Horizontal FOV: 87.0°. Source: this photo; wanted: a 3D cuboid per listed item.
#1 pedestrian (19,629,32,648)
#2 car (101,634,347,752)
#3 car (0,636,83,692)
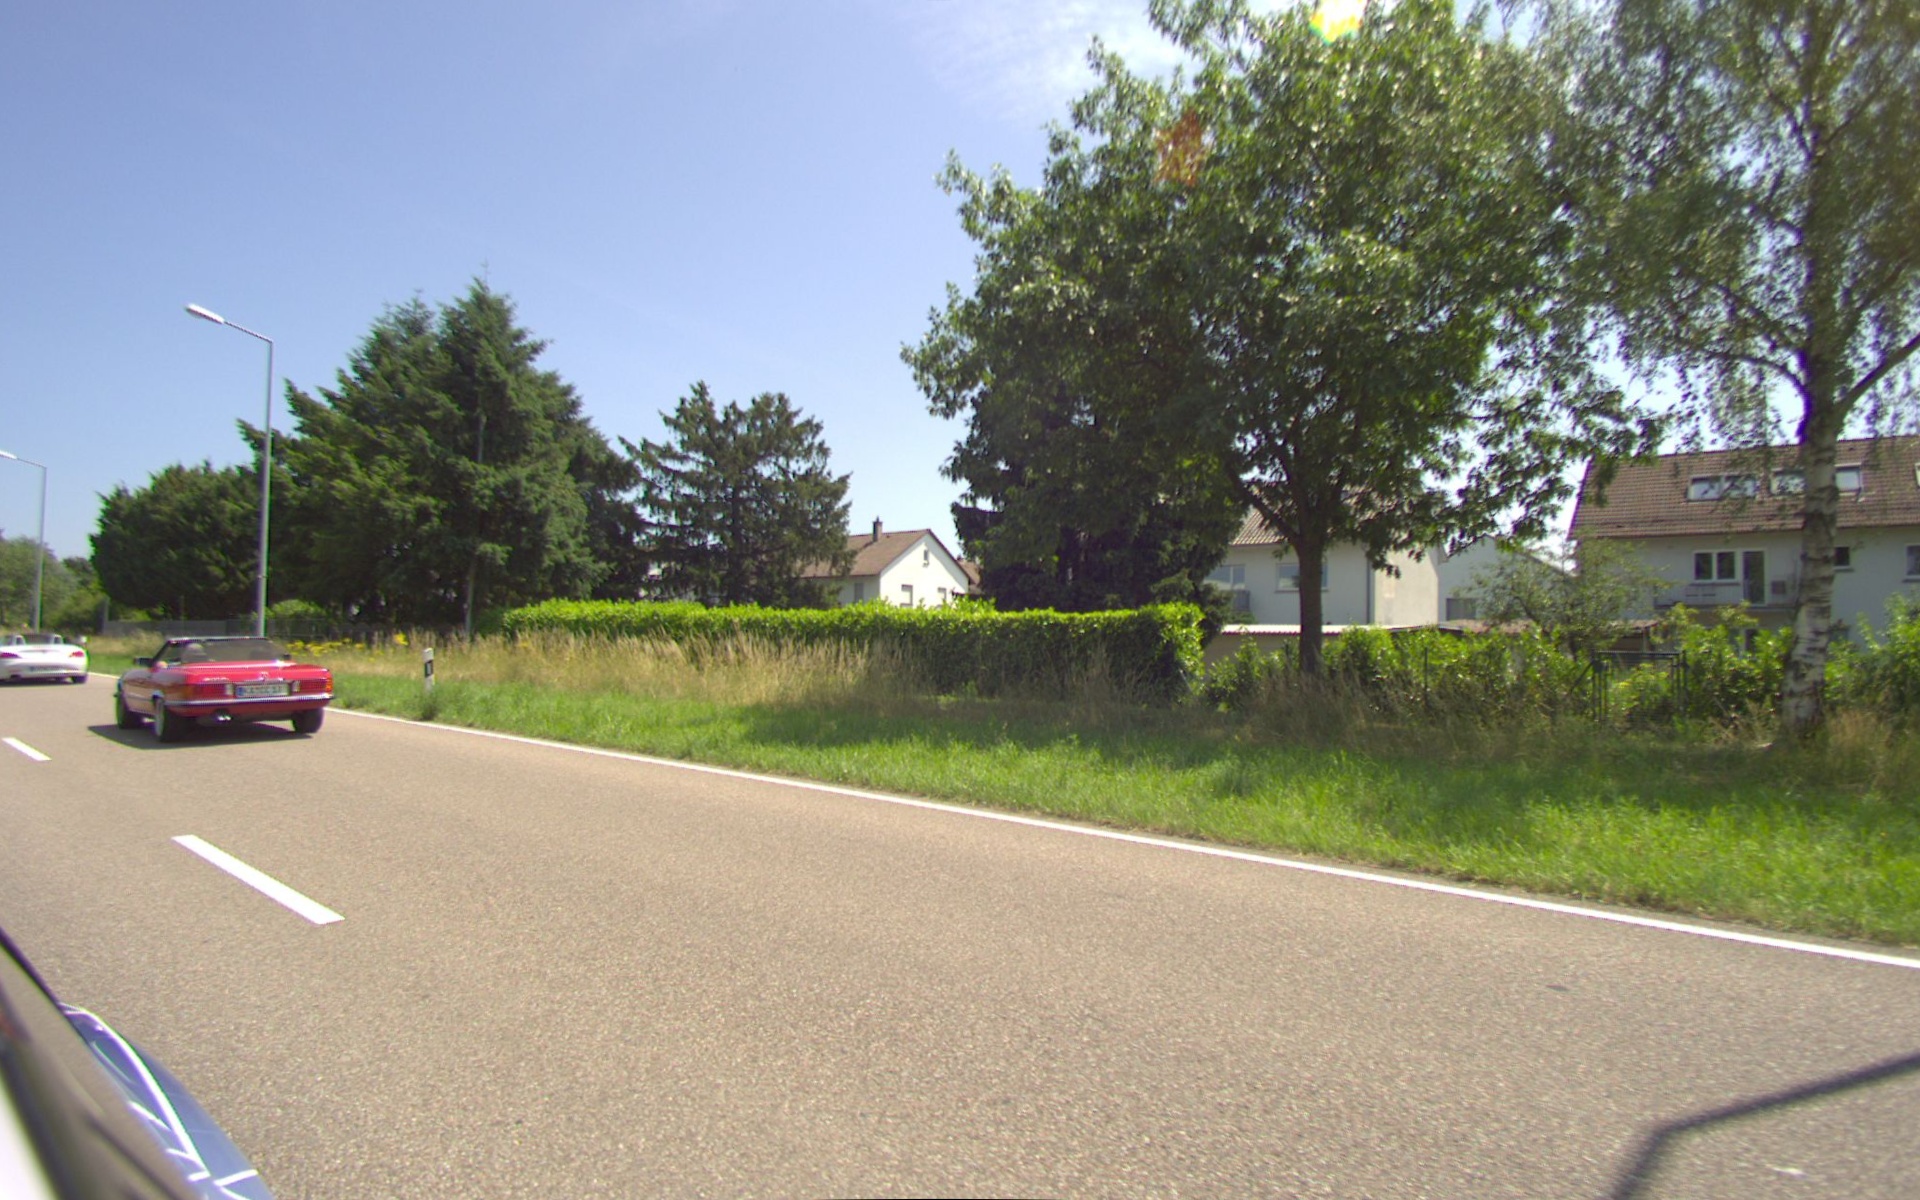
[{"bbox_3d":[-73.670,3.006,79.760,0.632,1.489,0.603,-1,-2,38],"label":"pedestrian"},{"bbox_3d":[-9.910,1.124,13.509,4.251,1.311,1.731,-1,-2,41],"label":"car"},{"bbox_3d":[-23.206,1.548,25.087,3.907,1.259,1.665,-1,-2,41],"label":"car"}]
